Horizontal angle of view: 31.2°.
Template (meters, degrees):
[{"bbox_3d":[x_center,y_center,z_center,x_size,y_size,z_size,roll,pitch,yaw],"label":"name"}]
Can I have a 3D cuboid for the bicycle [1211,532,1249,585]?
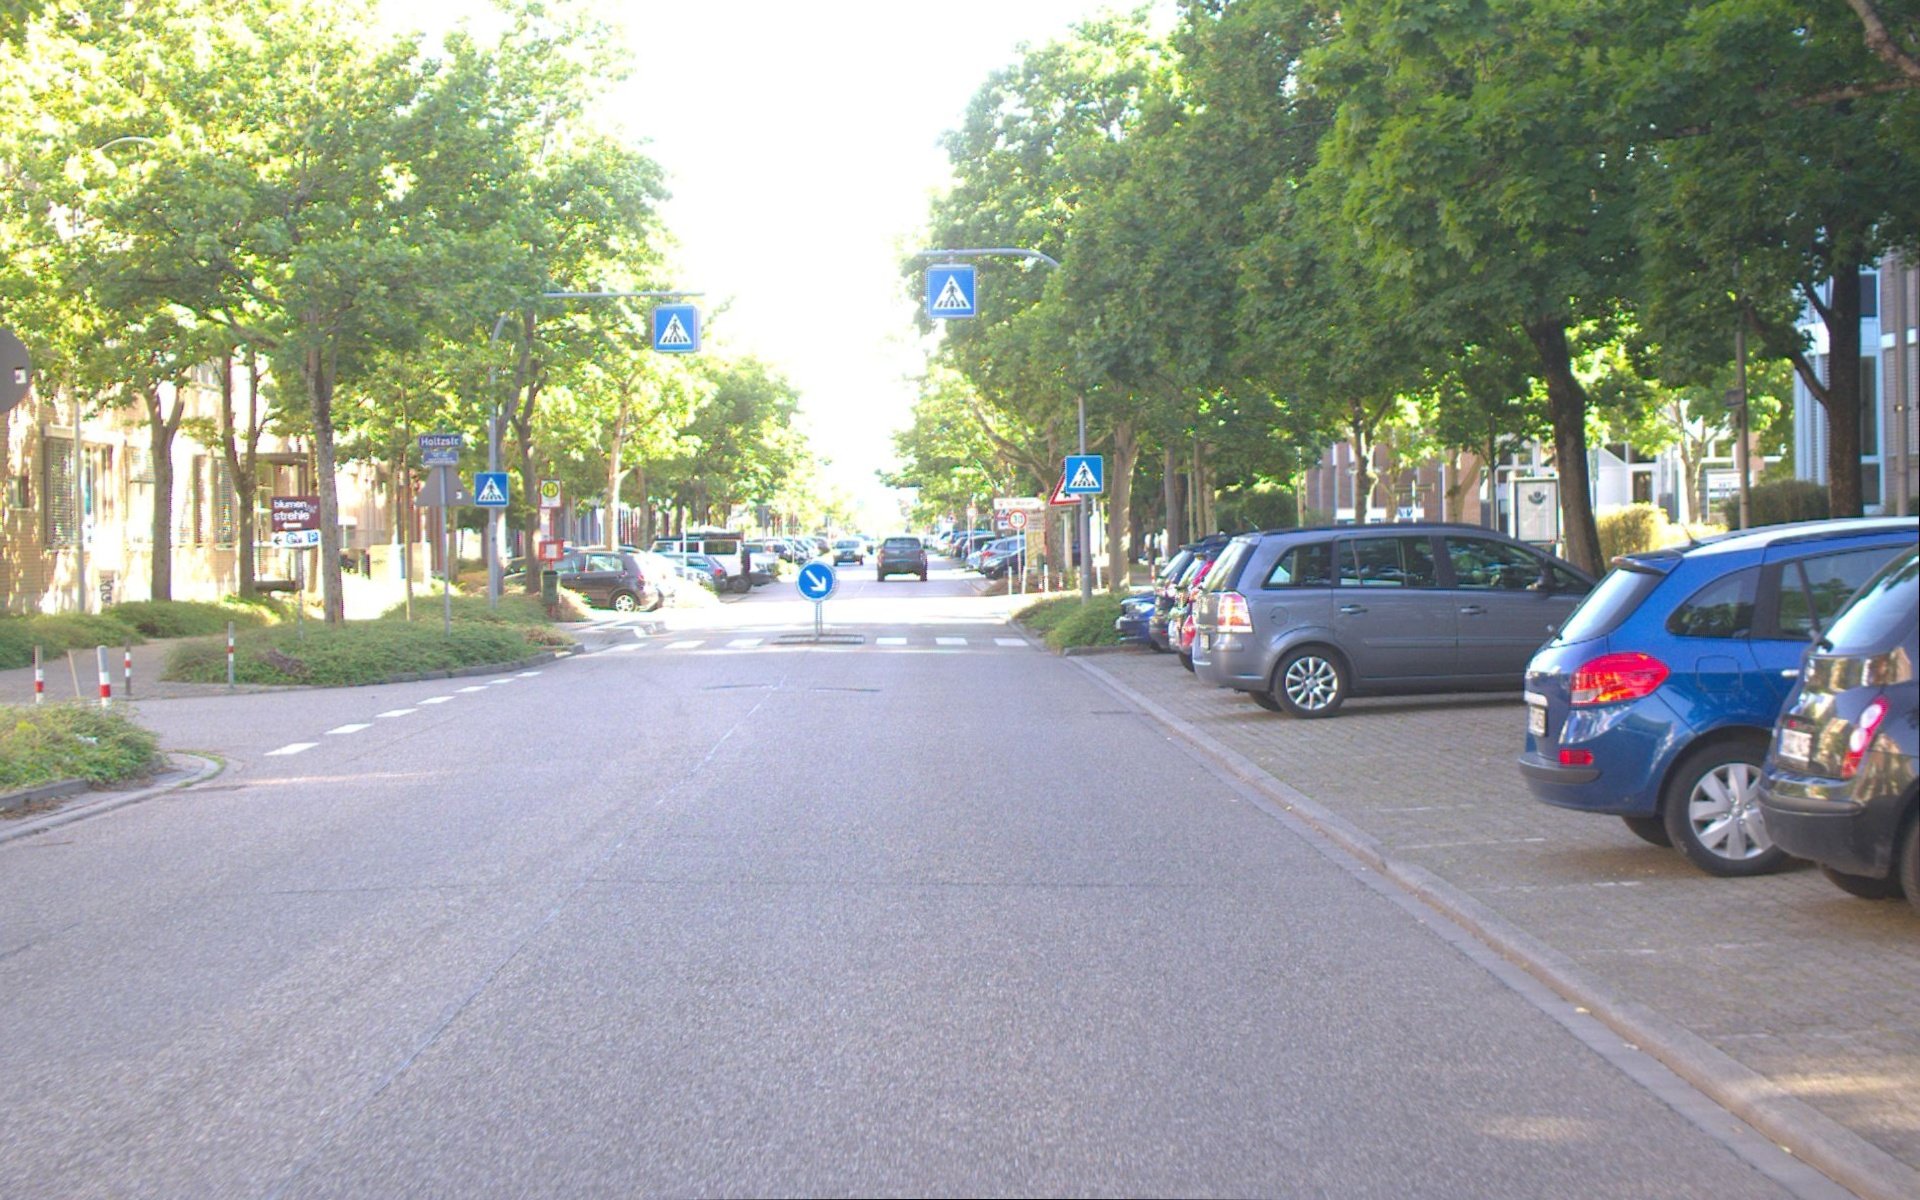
[{"bbox_3d":[6.408,-0.998,81.620,0.684,1.210,1.975,-2,1,10],"label":"bicycle"}]

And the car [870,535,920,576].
[{"bbox_3d":[-2.620,-1.801,138.794,1.993,1.634,4.000,0,1,-1],"label":"car"}]

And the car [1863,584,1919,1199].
[{"bbox_3d":[4.622,0.566,7.226,4.824,1.415,2.032,-3,1,-2],"label":"car"}]

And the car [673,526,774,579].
[{"bbox_3d":[-9.558,-1.936,139.142,3.986,2.007,2.000,-2,1,-2],"label":"car"}]

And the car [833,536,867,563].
[{"bbox_3d":[-6.439,-2.978,201.313,1.813,1.519,4.000,-2,1,0],"label":"car"}]

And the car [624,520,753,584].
[{"bbox_3d":[-9.037,-1.607,114.678,3.987,2.007,2.000,-2,1,4],"label":"car"}]

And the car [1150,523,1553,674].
[{"bbox_3d":[4.365,-0.029,38.726,4.190,1.443,1.813,-3,1,-3],"label":"car"}]

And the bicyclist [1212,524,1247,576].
[{"bbox_3d":[6.405,-1.182,81.612,0.698,1.210,0.945,-2,1,10],"label":"bicyclist"}]

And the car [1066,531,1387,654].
[{"bbox_3d":[3.689,-0.120,48.073,4.190,1.468,1.813,-3,1,-3],"label":"car"}]

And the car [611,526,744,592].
[{"bbox_3d":[-9.164,-1.346,111.654,3.987,2.007,2.000,-2,1,4],"label":"car"}]

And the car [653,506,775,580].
[{"bbox_3d":[-8.551,-1.992,119.748,3.987,2.532,1.862,0,1,4],"label":"car"}]

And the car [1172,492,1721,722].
[{"bbox_3d":[4.146,0.040,29.729,4.350,1.698,1.813,-3,1,-3],"label":"car"}]

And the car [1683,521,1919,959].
[{"bbox_3d":[4.796,0.405,13.058,3.641,1.509,1.813,-3,1,0],"label":"car"}]

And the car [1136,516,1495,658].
[{"bbox_3d":[4.443,-0.175,43.325,4.190,1.530,1.813,-3,1,-3],"label":"car"}]

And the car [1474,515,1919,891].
[{"bbox_3d":[4.468,0.373,15.578,3.949,1.509,1.813,-3,1,1],"label":"car"}]

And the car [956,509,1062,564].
[{"bbox_3d":[1.896,-2.483,133.865,3.986,2.007,2.000,-2,1,-2],"label":"car"}]

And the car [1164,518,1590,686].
[{"bbox_3d":[4.406,0.004,36.712,4.190,1.530,1.813,-3,1,-3],"label":"car"}]

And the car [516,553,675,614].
[{"bbox_3d":[-8.924,-0.404,84.341,3.848,1.468,1.813,0,1,-5],"label":"car"}]
